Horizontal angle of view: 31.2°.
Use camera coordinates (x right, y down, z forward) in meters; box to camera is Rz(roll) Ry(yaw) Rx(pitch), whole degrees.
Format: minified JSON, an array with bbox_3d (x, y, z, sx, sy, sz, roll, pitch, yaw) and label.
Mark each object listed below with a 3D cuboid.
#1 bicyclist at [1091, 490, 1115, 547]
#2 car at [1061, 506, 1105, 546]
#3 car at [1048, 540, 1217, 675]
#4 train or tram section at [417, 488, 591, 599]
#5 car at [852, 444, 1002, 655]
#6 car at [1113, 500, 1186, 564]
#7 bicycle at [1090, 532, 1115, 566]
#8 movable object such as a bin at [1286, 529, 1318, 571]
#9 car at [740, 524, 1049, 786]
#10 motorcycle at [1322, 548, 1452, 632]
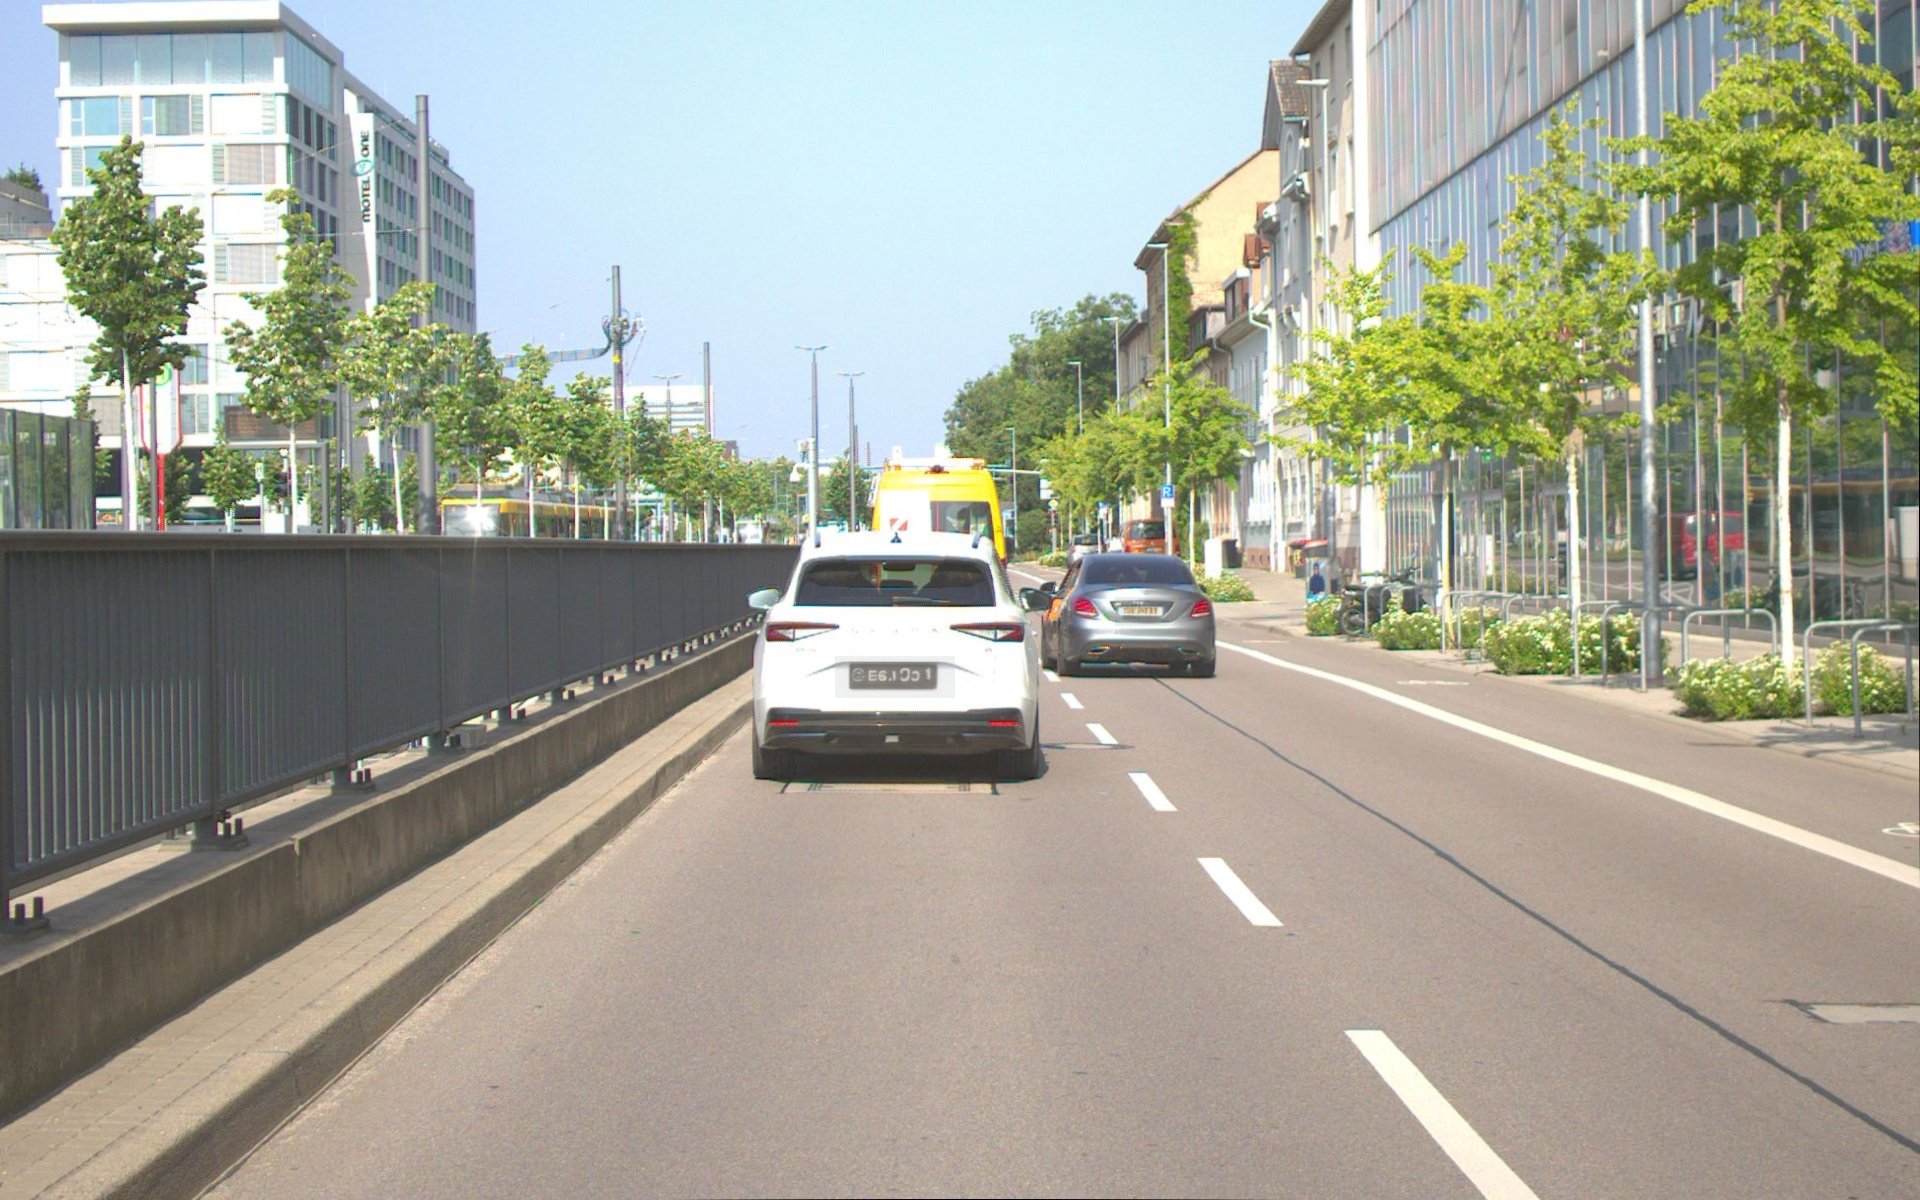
[{"bbox_3d":[3.924,-2.246,94.586,0.639,1.571,0.771,0,1,2],"label":"bicyclist"},{"bbox_3d":[5.554,-3.352,155.214,1.812,1.806,3.836,0,2,-1],"label":"car"},{"bbox_3d":[1.965,0.046,40.165,1.760,1.431,4.115,1,1,0],"label":"car"},{"bbox_3d":[-16.182,-2.035,123.805,2.906,3.663,18.135,1,1,3],"label":"train or tram section"},{"bbox_3d":[-0.442,-0.807,49.510,2.020,2.786,5.402,-1,3,0],"label":"car"},{"bbox_3d":[6.135,-2.230,111.718,2.063,2.006,4.589,-1,2,0],"label":"car"},{"bbox_3d":[3.932,-1.416,94.980,0.655,0.935,1.517,0,1,2],"label":"bicycle"},{"bbox_3d":[9.665,-1.426,97.200,0.669,1.148,0.617,-3,4,-44],"label":"movable object such as a bin"},{"bbox_3d":[-0.396,0.293,23.012,1.870,1.569,4.000,-1,1,0],"label":"car"},{"bbox_3d":[7.116,-0.177,57.334,1.968,1.345,0.868,-1,1,-10],"label":"motorcycle"}]
